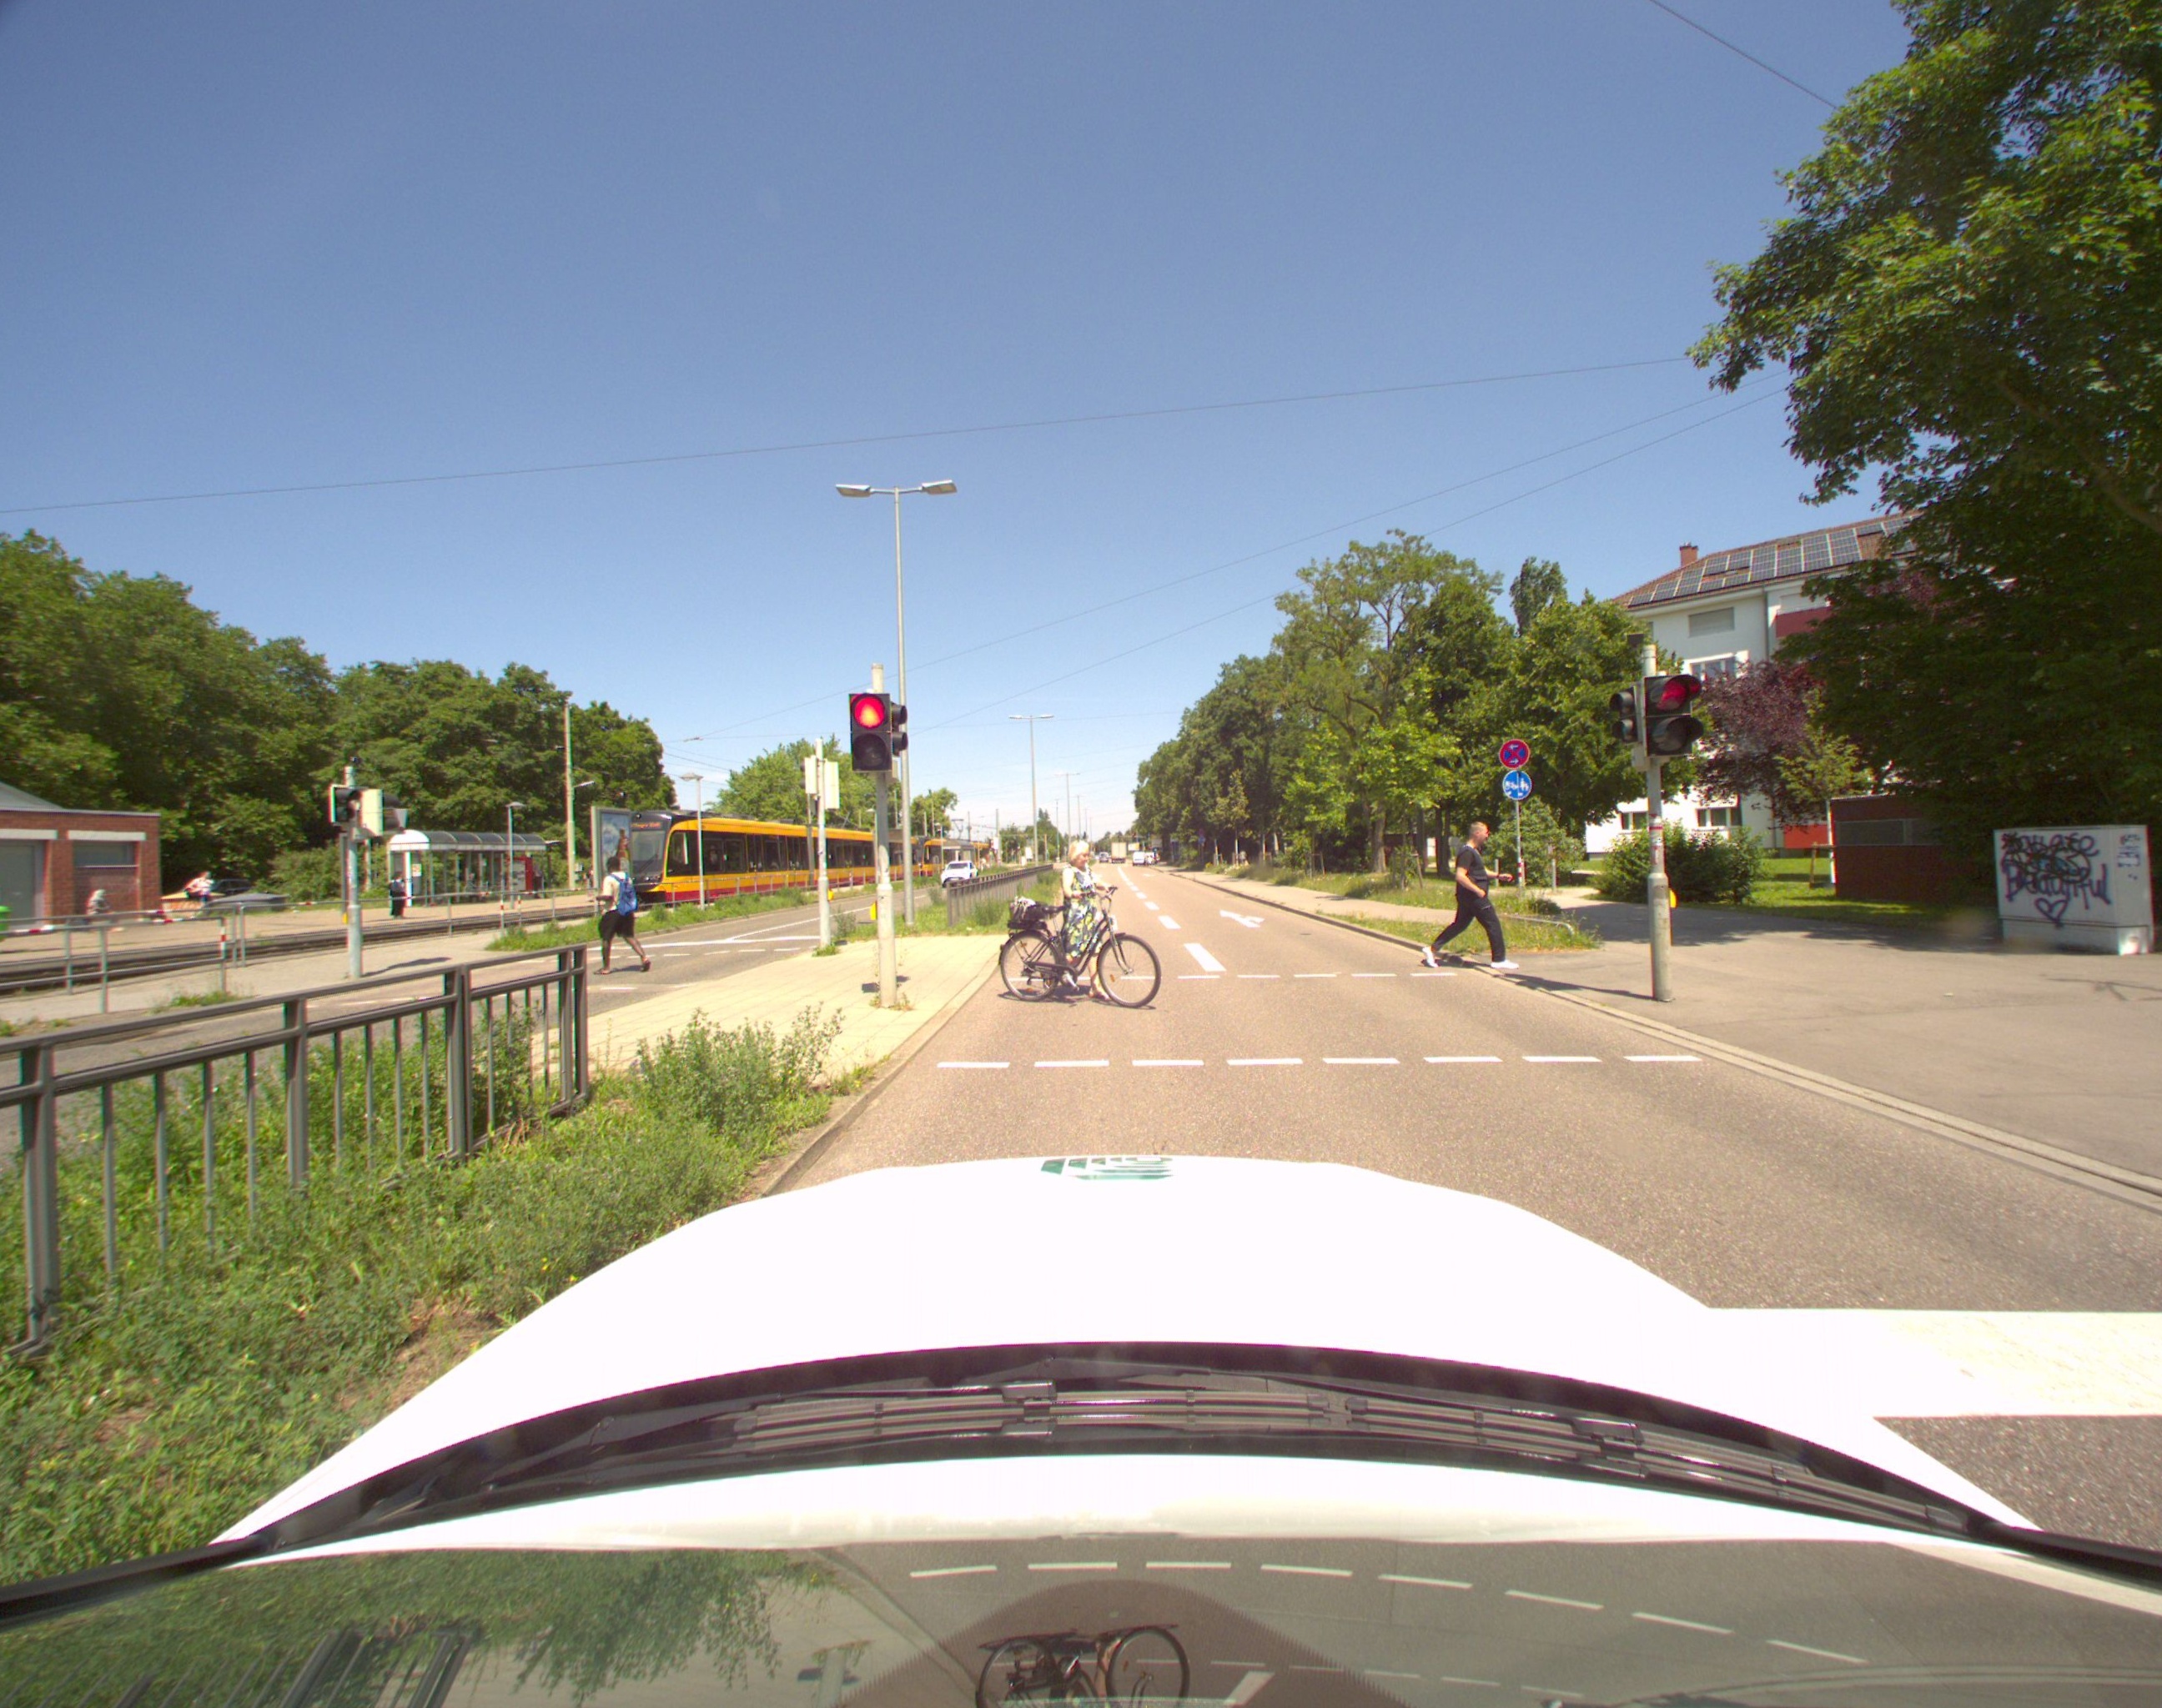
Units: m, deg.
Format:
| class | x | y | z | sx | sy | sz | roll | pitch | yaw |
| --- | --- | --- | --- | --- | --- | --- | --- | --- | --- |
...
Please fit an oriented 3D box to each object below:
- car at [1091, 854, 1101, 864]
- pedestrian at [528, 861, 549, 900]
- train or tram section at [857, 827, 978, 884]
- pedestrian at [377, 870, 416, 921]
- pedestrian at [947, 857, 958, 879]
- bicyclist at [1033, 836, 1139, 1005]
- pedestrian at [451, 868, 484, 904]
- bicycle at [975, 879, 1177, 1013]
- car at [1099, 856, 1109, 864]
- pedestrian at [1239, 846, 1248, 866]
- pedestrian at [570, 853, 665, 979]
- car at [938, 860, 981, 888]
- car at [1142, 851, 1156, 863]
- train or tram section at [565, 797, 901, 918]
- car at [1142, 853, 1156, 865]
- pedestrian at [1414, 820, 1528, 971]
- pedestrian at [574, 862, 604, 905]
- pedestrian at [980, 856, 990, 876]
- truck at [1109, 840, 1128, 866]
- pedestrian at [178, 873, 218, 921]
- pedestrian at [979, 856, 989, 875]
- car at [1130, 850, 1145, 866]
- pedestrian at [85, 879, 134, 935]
| class | x | y | z | sx | sy | sz | roll | pitch | yaw |
| --- | --- | --- | --- | --- | --- | --- | --- | --- | --- |
| car | 3.289 | 1.002 | 175.327 | 1.986 | 2.013 | 4.002 | -2 | 0 | 2 |
| pedestrian | -25.868 | 1.263 | 38.831 | 0.725 | 1.800 | 0.835 | -1 | 0 | -41 |
| train or tram section | -13.344 | 0.089 | 72.364 | 2.920 | 3.789 | 33.100 | -2 | 0 | 2 |
| pedestrian | -21.551 | 1.296 | 25.654 | 0.635 | 1.555 | 0.691 | -2 | 0 | -11 |
| pedestrian | -10.997 | 1.175 | 69.722 | 0.783 | 1.868 | 0.818 | -2 | 0 | 1 |
| bicyclist | 0.056 | 0.656 | 8.534 | 0.949 | 1.666 | 0.583 | 1 | 2 | 19 |
| pedestrian | -26.294 | 1.375 | 34.886 | 0.836 | 1.511 | 0.723 | -2 | 0 | 12 |
| bicycle | -0.061 | 0.880 | 8.227 | 1.941 | 1.161 | 0.544 | 2 | 2 | 19 |
| car | 4.478 | 1.084 | 156.526 | 1.804 | 1.464 | 4.002 | -2 | 0 | 2 |
| pedestrian | 12.227 | 0.136 | 61.424 | 0.600 | 1.438 | 0.557 | -2 | 0 | 8 |
| pedestrian | -7.036 | 0.914 | 12.398 | 0.837 | 1.777 | 0.720 | -5 | 2 | 1 |
| car | -7.262 | 1.165 | 48.890 | 1.838 | 1.494 | 3.793 | -2 | 0 | 2 |
| car | 9.880 | 0.395 | 118.758 | 1.773 | 1.668 | 4.002 | -2 | 0 | 2 |
| train or tram section | -14.360 | 0.117 | 40.841 | 2.946 | 3.749 | 30.044 | -2 | 0 | 2 |
| car | 9.360 | 0.657 | 112.417 | 1.773 | 1.668 | 4.002 | -2 | 0 | 2 |
| pedestrian | 4.923 | 0.501 | 10.273 | 1.173 | 1.778 | 0.845 | -2 | -2 | 32 |
| pedestrian | -21.227 | 1.250 | 35.175 | 0.715 | 1.777 | 0.843 | 3 | 2 | 1 |
| pedestrian | -9.931 | 1.205 | 84.059 | 0.812 | 2.013 | 0.939 | -2 | 0 | 1 |
| truck | 6.743 | -0.161 | 146.188 | 3.193 | 4.359 | 6.563 | -2 | 0 | 2 |
| pedestrian | -27.148 | 1.315 | 25.046 | 0.634 | 1.456 | 0.585 | -2 | 0 | 15 |
| pedestrian | -10.151 | 1.217 | 85.359 | 0.812 | 2.013 | 0.939 | -2 | 0 | 1 |
| car | 7.336 | 0.507 | 105.685 | 1.773 | 1.903 | 4.002 | -2 | 0 | 2 |
| pedestrian | -26.688 | 1.448 | 22.373 | 0.636 | 1.480 | 0.570 | -2 | 0 | 1 |
